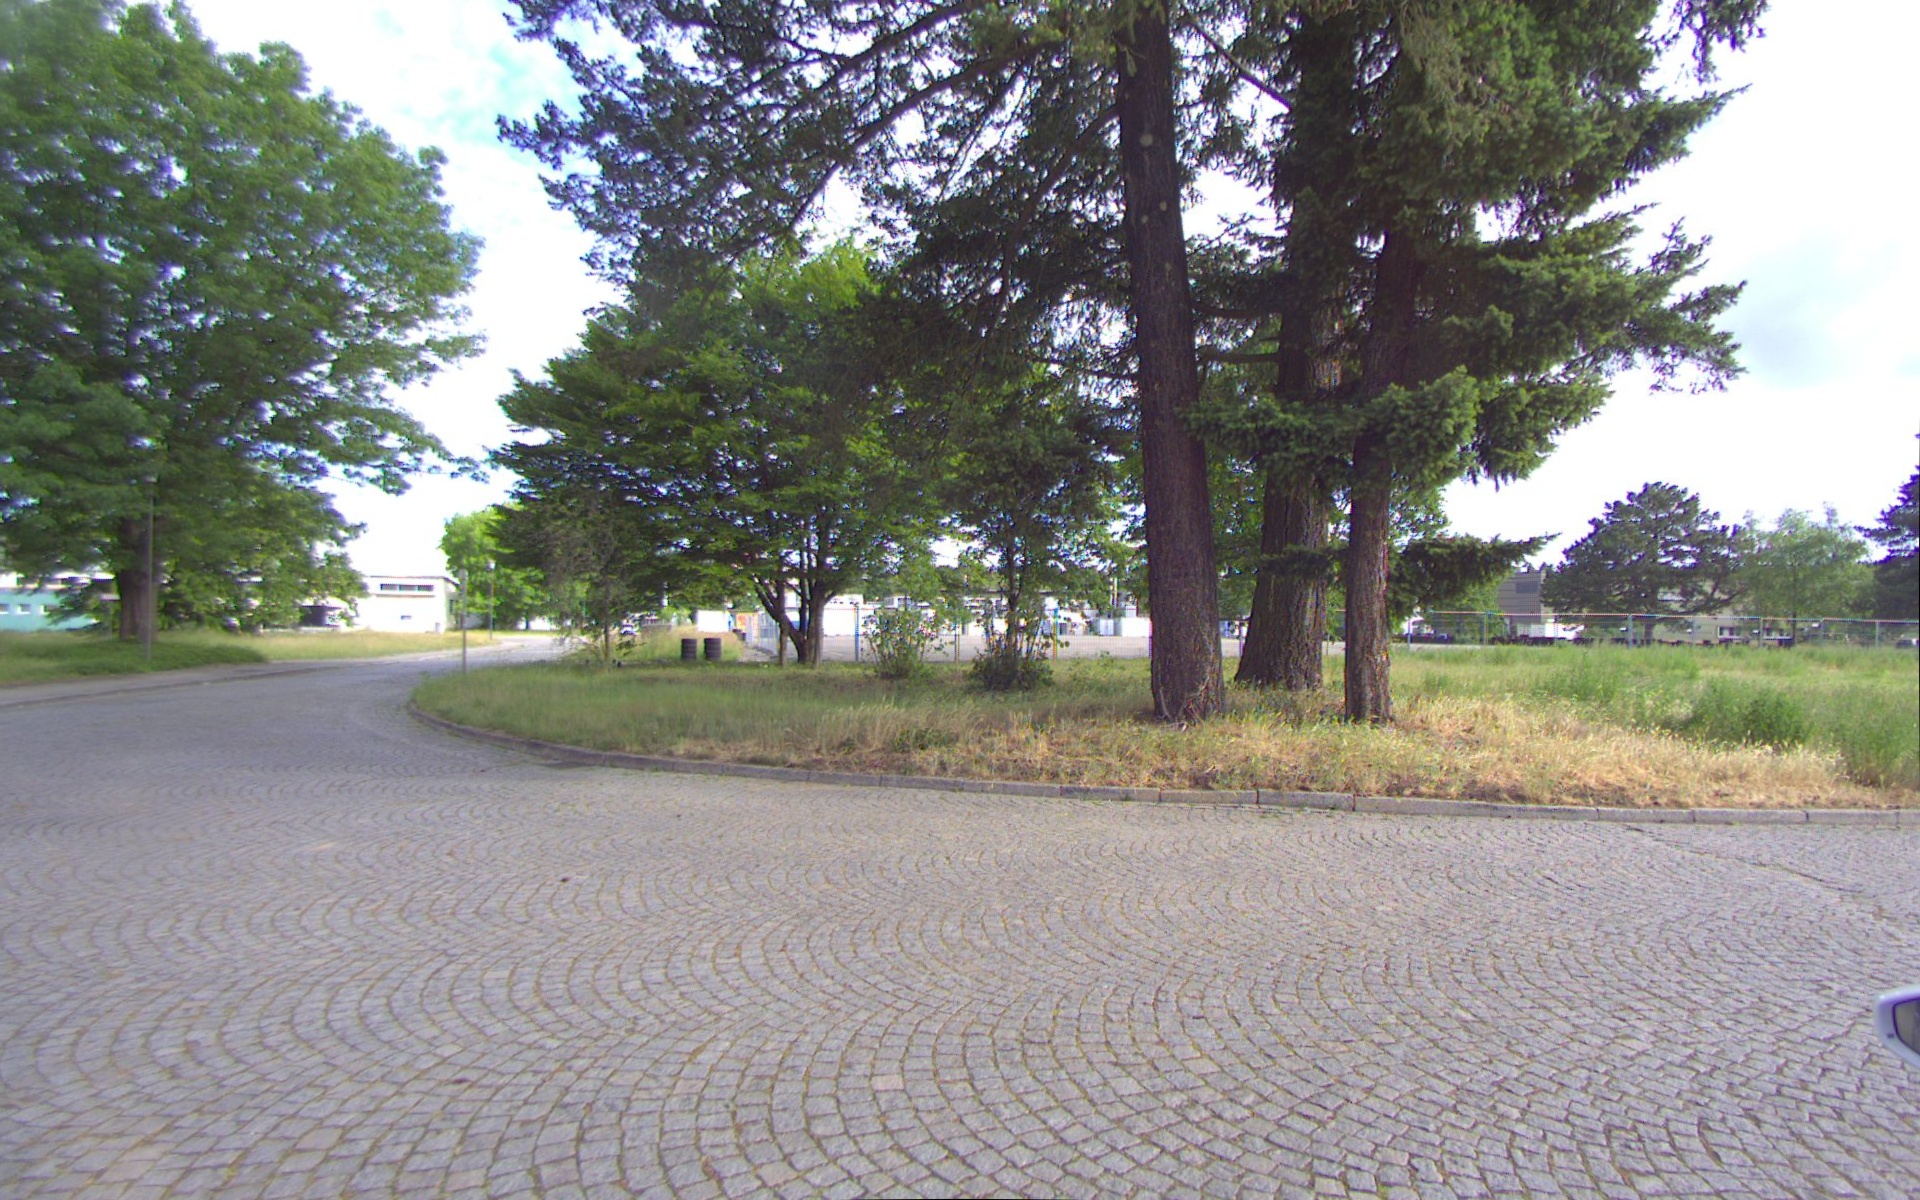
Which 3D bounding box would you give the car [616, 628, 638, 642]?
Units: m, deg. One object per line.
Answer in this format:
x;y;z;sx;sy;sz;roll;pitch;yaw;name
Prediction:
-36.027;3.798;108.710;1.823;1.456;4.693;0;-1;-14;car
